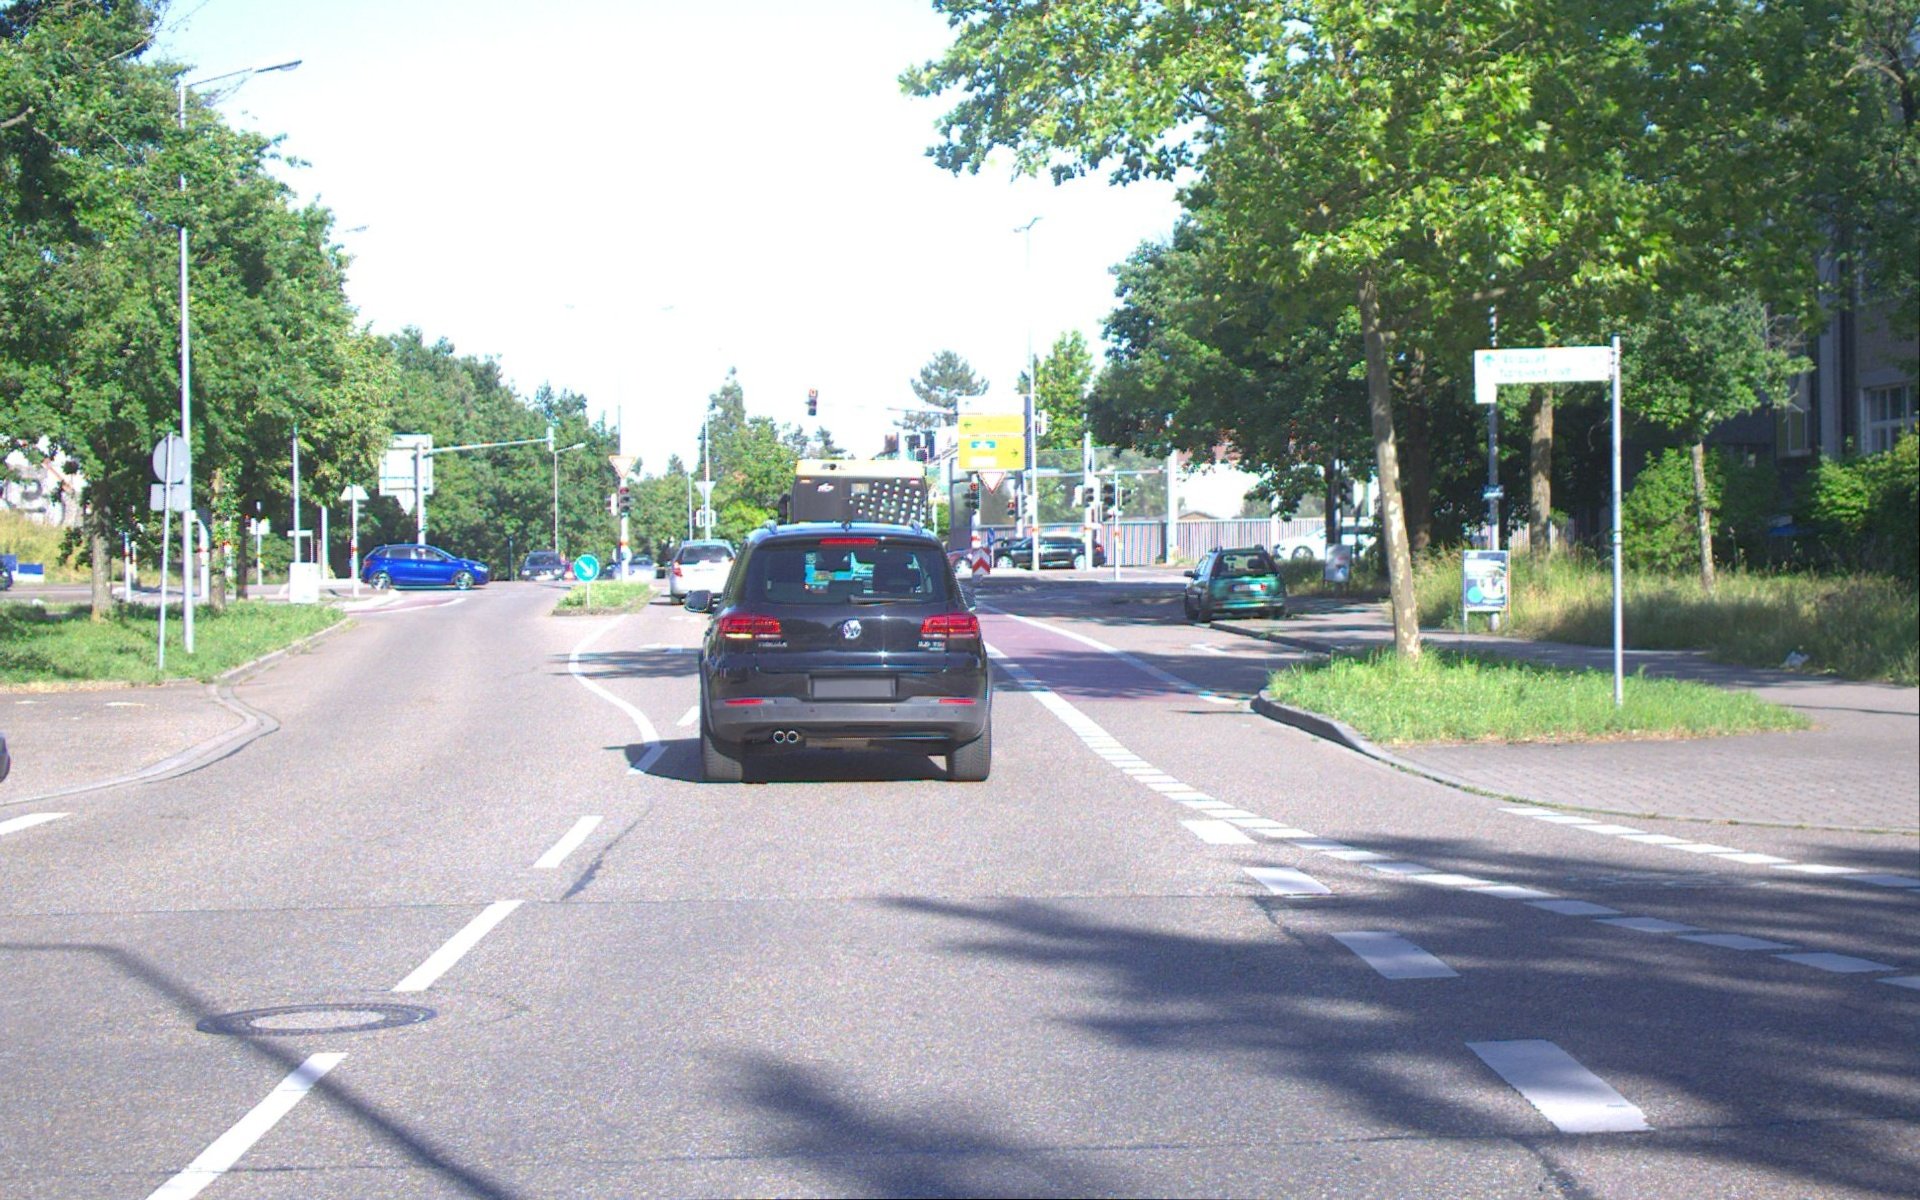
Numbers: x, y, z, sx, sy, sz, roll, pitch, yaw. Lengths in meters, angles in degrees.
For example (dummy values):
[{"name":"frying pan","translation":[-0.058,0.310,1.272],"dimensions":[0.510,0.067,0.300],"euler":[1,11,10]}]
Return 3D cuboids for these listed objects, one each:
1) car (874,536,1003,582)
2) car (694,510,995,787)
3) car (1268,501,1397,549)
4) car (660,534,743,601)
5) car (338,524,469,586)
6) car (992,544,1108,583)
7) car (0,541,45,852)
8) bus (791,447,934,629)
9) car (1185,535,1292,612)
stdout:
[{"name":"car","translation":[-0.596,-1.177,97.988],"dimensions":[3.523,1.298,1.574],"euler":[0,1,6]},{"name":"car","translation":[-0.722,0.291,22.985],"dimensions":[1.821,1.668,4.003],"euler":[-1,0,0]},{"name":"car","translation":[13.644,-2.736,126.016],"dimensions":[4.382,1.677,1.712],"euler":[1,0,-7]},{"name":"car","translation":[-6.470,-0.807,85.680],"dimensions":[1.753,1.615,4.034],"euler":[-1,0,-8]},{"name":"car","translation":[-17.588,-1.411,108.797],"dimensions":[3.986,1.873,2.000],"euler":[1,0,-7]},{"name":"car","translation":[3.245,-1.323,124.355],"dimensions":[3.891,1.335,1.683],"euler":[1,0,-11]},{"name":"car","translation":[-6.552,0.560,16.411],"dimensions":[1.756,1.590,4.293],"euler":[-1,1,28]},{"name":"bus","translation":[-2.073,-1.254,69.410],"dimensions":[2.596,3.323,11.985],"euler":[1,1,-3]},{"name":"car","translation":[5.430,-0.525,67.488],"dimensions":[1.592,1.424,4.204],"euler":[-2,1,-2]}]
